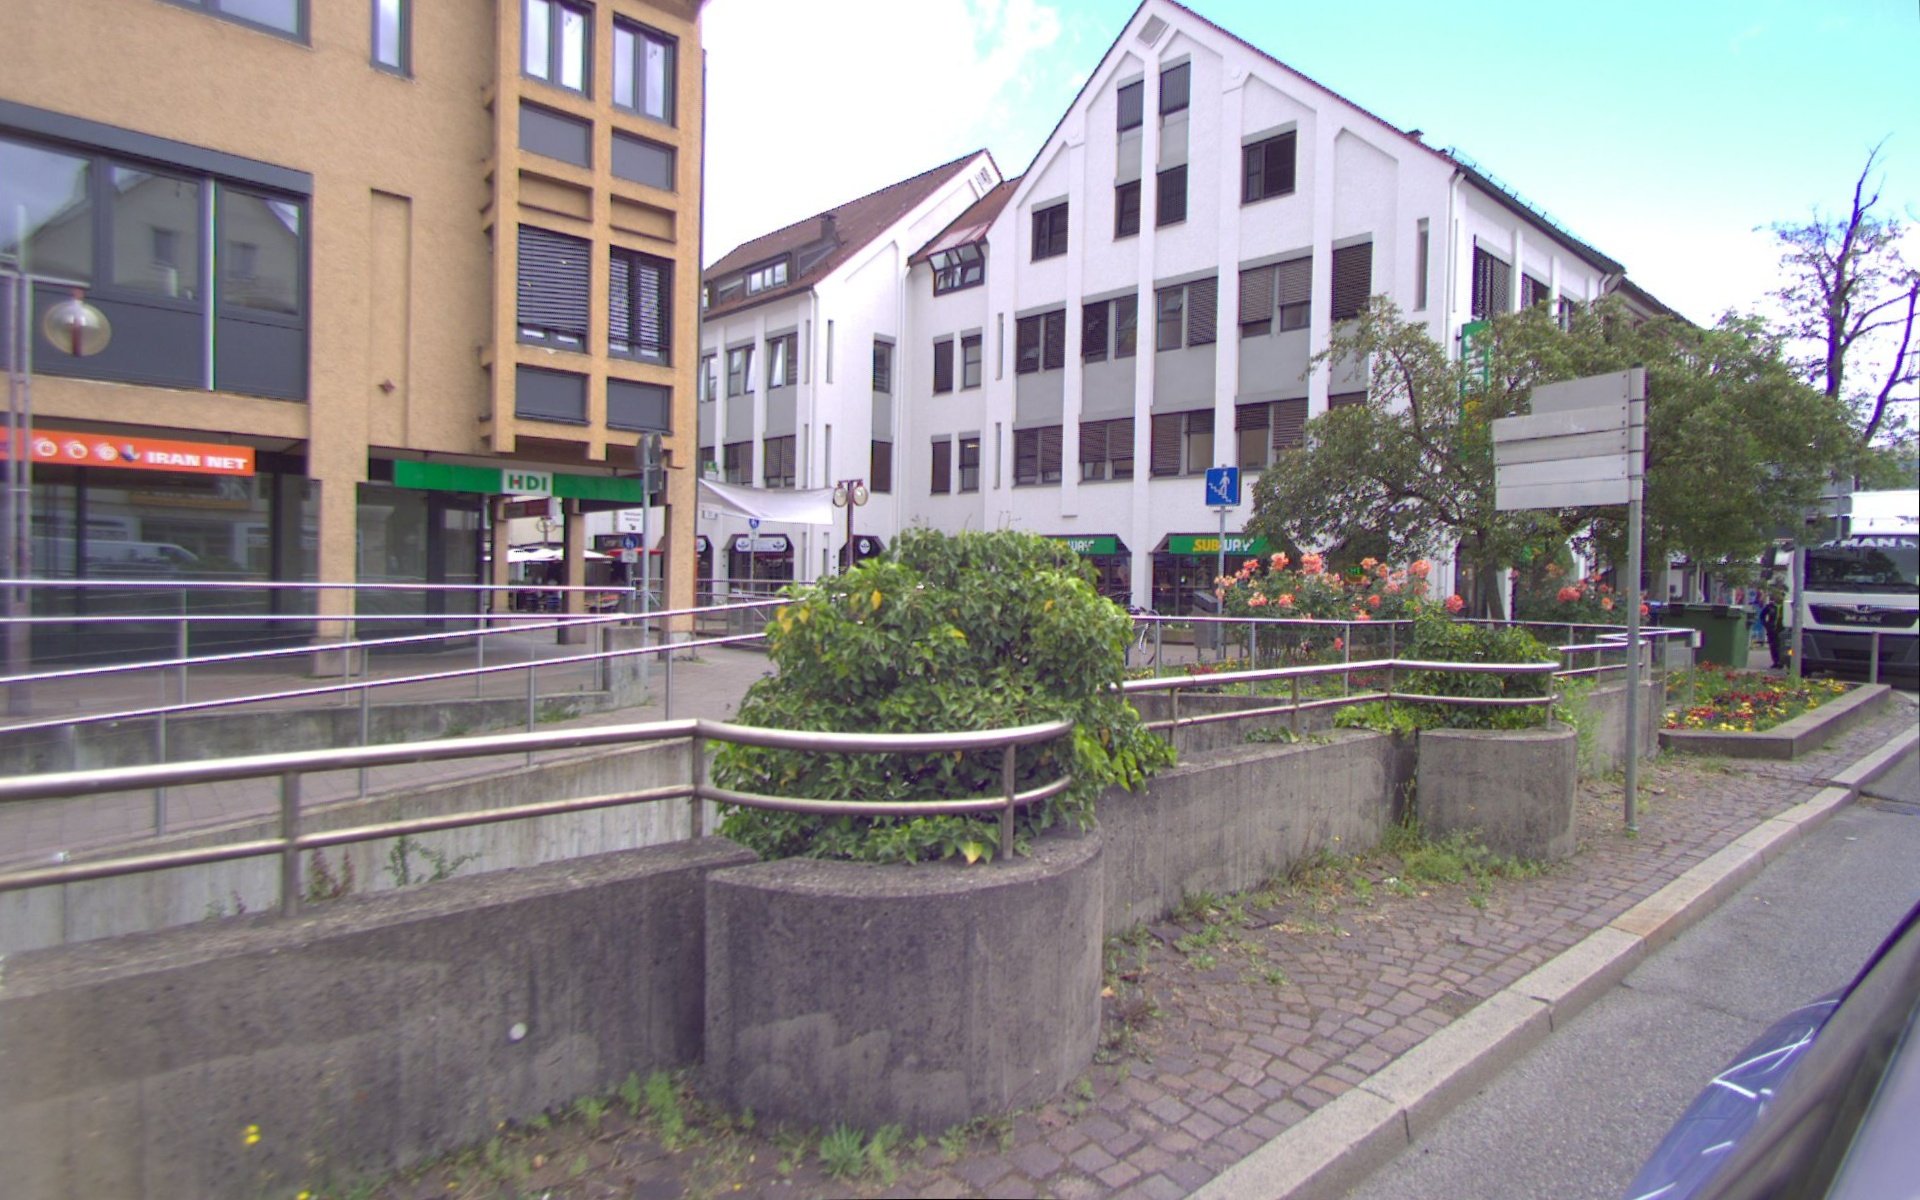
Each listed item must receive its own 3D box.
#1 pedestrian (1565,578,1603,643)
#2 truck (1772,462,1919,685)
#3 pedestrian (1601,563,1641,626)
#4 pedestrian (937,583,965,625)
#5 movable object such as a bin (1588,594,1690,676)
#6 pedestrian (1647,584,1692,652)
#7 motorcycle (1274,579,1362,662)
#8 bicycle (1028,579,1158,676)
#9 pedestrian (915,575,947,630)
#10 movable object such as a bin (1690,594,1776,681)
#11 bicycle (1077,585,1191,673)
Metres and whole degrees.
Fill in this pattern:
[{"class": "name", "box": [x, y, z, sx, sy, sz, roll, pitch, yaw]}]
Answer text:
[{"class": "pedestrian", "box": [15.824, 0.262, 25.661, 0.732, 1.622, 0.573, 1, 1, -40]}, {"class": "truck", "box": [18.805, -0.407, 19.949, 9.596, 3.605, 2.693, 1, 1, -41]}, {"class": "pedestrian", "box": [17.392, -0.153, 26.631, 0.564, 1.622, 0.744, 1, 1, -43]}, {"class": "pedestrian", "box": [-0.275, 0.112, 29.871, 0.504, 1.215, 0.619, 1, 1, -43]}, {"class": "movable object such as a bin", "box": [12.198, 0.599, 18.189, 1.351, 1.356, 1.146, 1, 1, -39]}, {"class": "pedestrian", "box": [17.437, 0.425, 24.896, 0.737, 1.622, 0.570, 2, 1, 21]}, {"class": "motorcycle", "box": [6.700, 0.360, 18.888, 1.913, 1.456, 0.721, 1, 1, -43]}, {"class": "bicycle", "box": [2.000, 0.382, 15.390, 0.829, 1.343, 1.818, 1, 1, -44]}, {"class": "pedestrian", "box": [-0.816, 0.064, 28.089, 0.606, 1.494, 0.610, 2, 1, 43]}, {"class": "movable object such as a bin", "box": [12.962, 0.607, 16.963, 1.066, 1.356, 0.884, 1, 1, -39]}, {"class": "bicycle", "box": [2.717, 0.427, 15.903, 0.658, 1.274, 1.676, 1, 1, -44]}]
